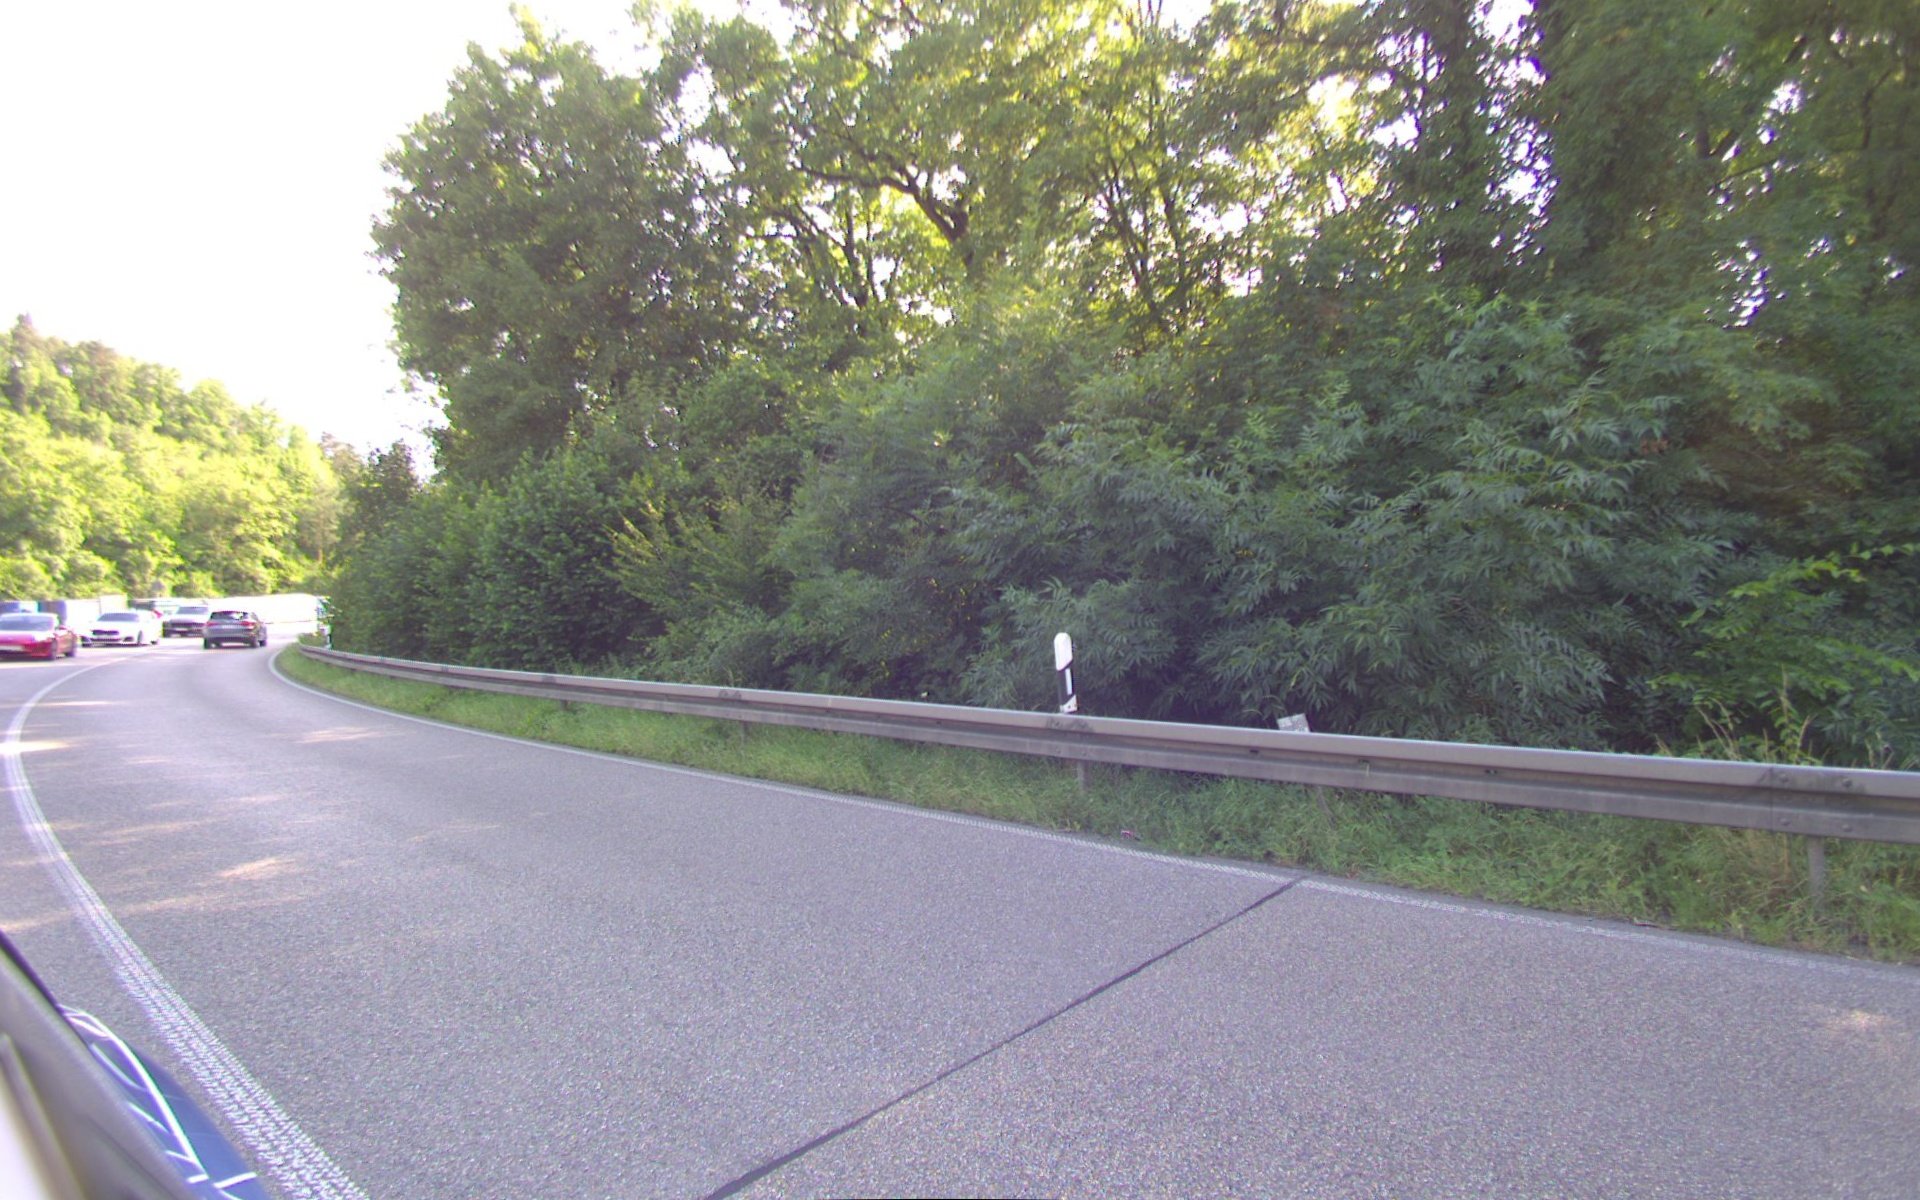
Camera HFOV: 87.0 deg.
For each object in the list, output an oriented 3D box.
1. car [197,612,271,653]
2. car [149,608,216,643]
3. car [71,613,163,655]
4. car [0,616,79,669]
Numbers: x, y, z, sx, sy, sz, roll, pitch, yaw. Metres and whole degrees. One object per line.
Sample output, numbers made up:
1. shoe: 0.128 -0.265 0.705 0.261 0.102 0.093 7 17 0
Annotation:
1. car: -29.824 1.346 41.699 1.841 1.577 4.013 -1 -2 -26
2. car: -39.662 1.258 51.745 1.829 1.608 4.552 -3 1 -27
3. car: -34.461 1.332 41.508 1.884 1.476 4.552 -3 1 -27
4. car: -28.802 1.283 31.178 1.830 1.431 4.431 -3 1 -33
